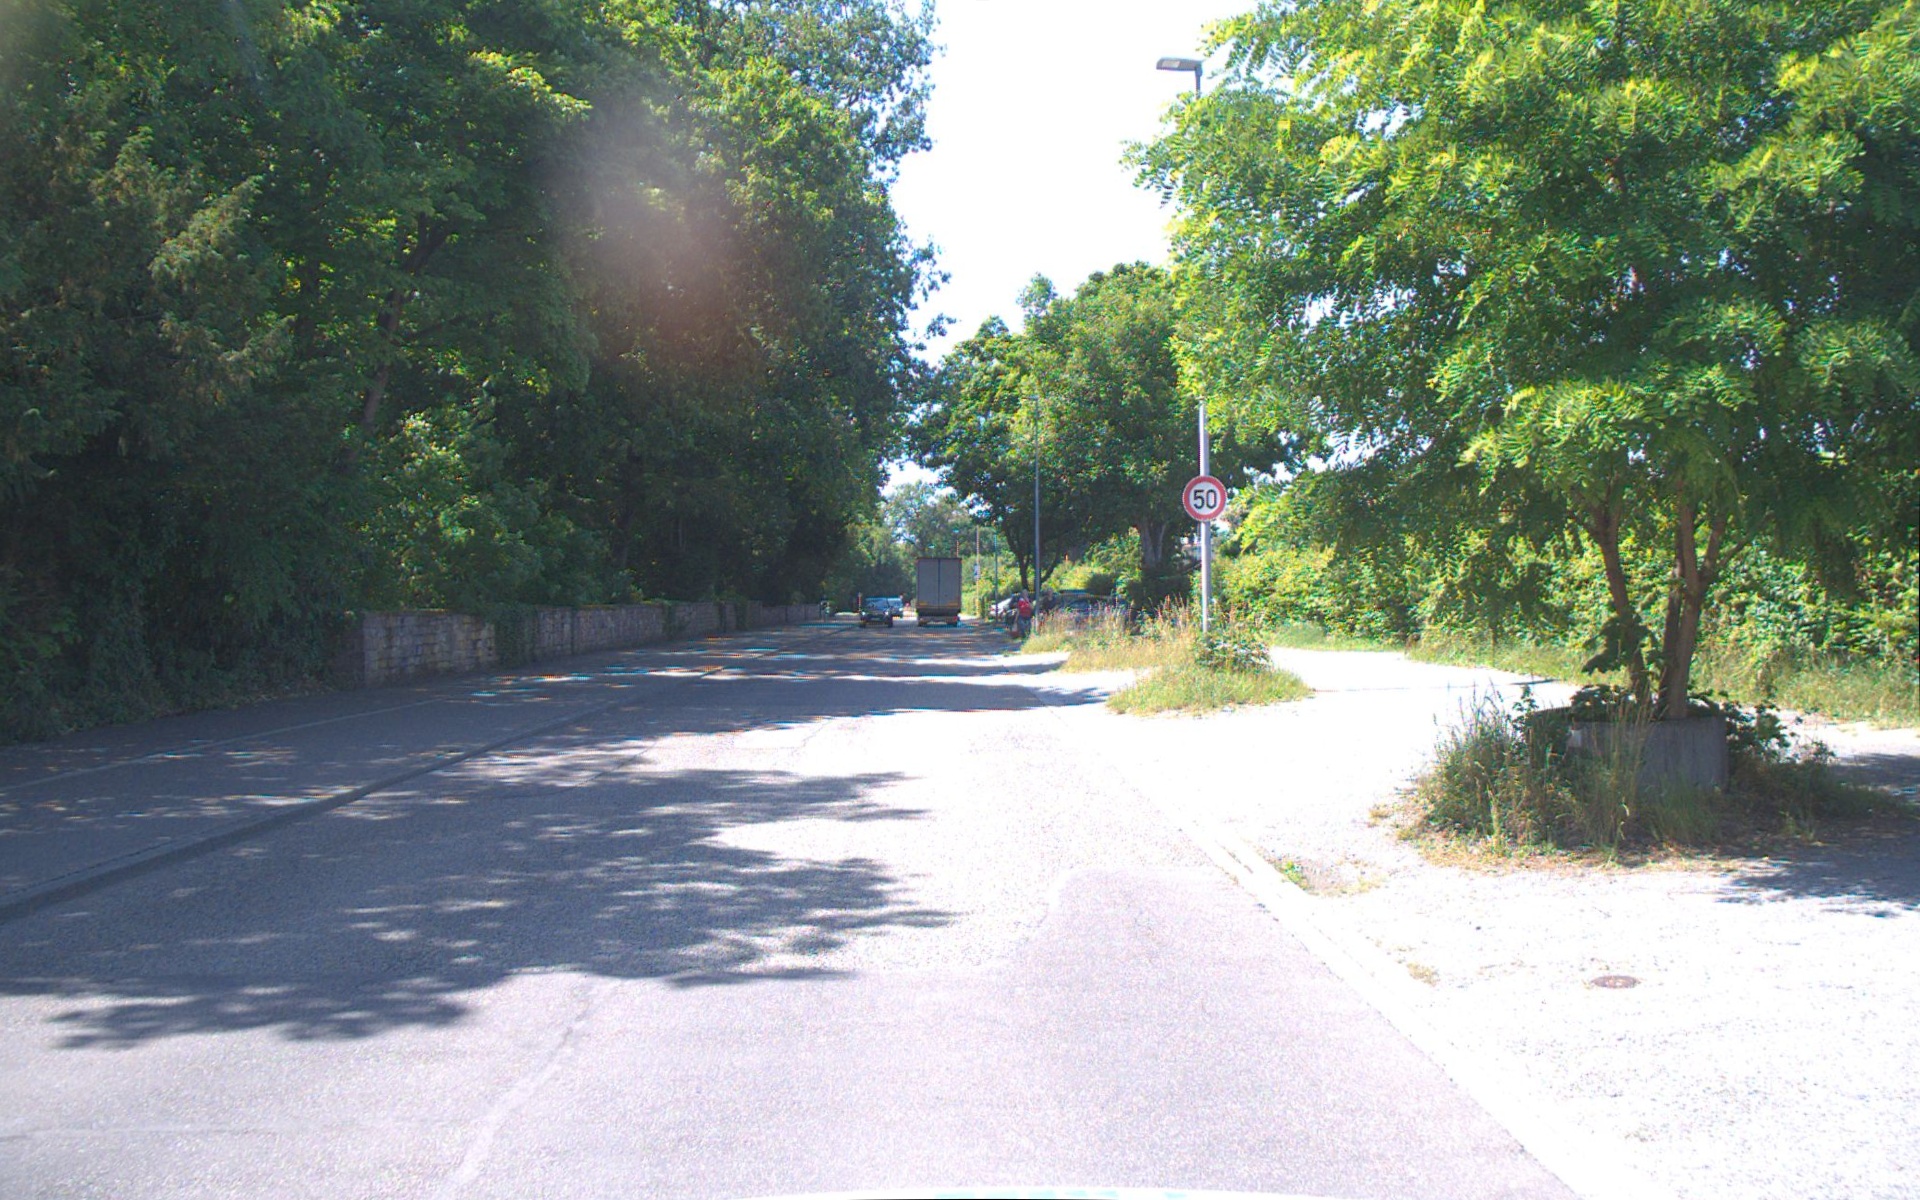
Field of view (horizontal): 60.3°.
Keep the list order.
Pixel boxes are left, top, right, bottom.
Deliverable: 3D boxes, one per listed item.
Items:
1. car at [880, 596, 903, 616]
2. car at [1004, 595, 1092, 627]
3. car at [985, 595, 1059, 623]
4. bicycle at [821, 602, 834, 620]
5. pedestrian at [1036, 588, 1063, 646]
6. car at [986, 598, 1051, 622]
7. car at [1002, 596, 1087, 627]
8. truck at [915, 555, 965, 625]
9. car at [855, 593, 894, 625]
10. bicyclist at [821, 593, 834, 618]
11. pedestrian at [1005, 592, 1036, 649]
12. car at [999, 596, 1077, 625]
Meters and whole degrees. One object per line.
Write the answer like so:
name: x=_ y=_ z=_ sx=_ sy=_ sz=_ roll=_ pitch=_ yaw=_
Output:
car: x=-6.062 y=0.510 z=146.948 sx=1.953 sy=1.713 sz=4.261 roll=-1 pitch=0 yaw=-1
car: x=4.208 y=0.518 z=79.627 sx=4.110 sy=1.470 sz=1.738 roll=-1 pitch=0 yaw=-1
car: x=3.514 y=0.514 z=93.905 sx=4.110 sy=1.470 sz=1.738 roll=-1 pitch=0 yaw=-1
bicycle: x=-9.221 y=0.772 z=115.353 sx=0.703 sy=1.179 sz=2.230 roll=-1 pitch=0 yaw=-1
pedestrian: x=2.786 y=0.515 z=51.496 sx=0.724 sy=1.769 sz=0.885 roll=-1 pitch=0 yaw=-3
car: x=3.780 y=0.629 z=107.741 sx=4.110 sy=1.470 sz=1.738 roll=-1 pitch=0 yaw=-1
car: x=4.228 y=0.566 z=83.168 sx=4.110 sy=1.470 sz=1.738 roll=-1 pitch=0 yaw=-1
truck: x=-1.185 y=-0.537 z=97.011 sx=2.678 sy=3.811 sz=13.243 roll=0 pitch=0 yaw=-1
car: x=-4.694 y=0.480 z=91.699 sx=1.953 sy=1.713 sz=4.261 roll=-1 pitch=0 yaw=-1
bicyclist: x=-9.227 y=0.376 z=115.363 sx=0.815 sy=1.746 sz=0.957 roll=-1 pitch=0 yaw=-1
pedestrian: x=1.832 y=0.609 z=50.053 sx=0.846 sy=1.706 sz=0.885 roll=-1 pitch=0 yaw=-3
car: x=4.199 y=0.556 z=89.568 sx=4.110 sy=1.470 sz=1.738 roll=-1 pitch=0 yaw=-1
